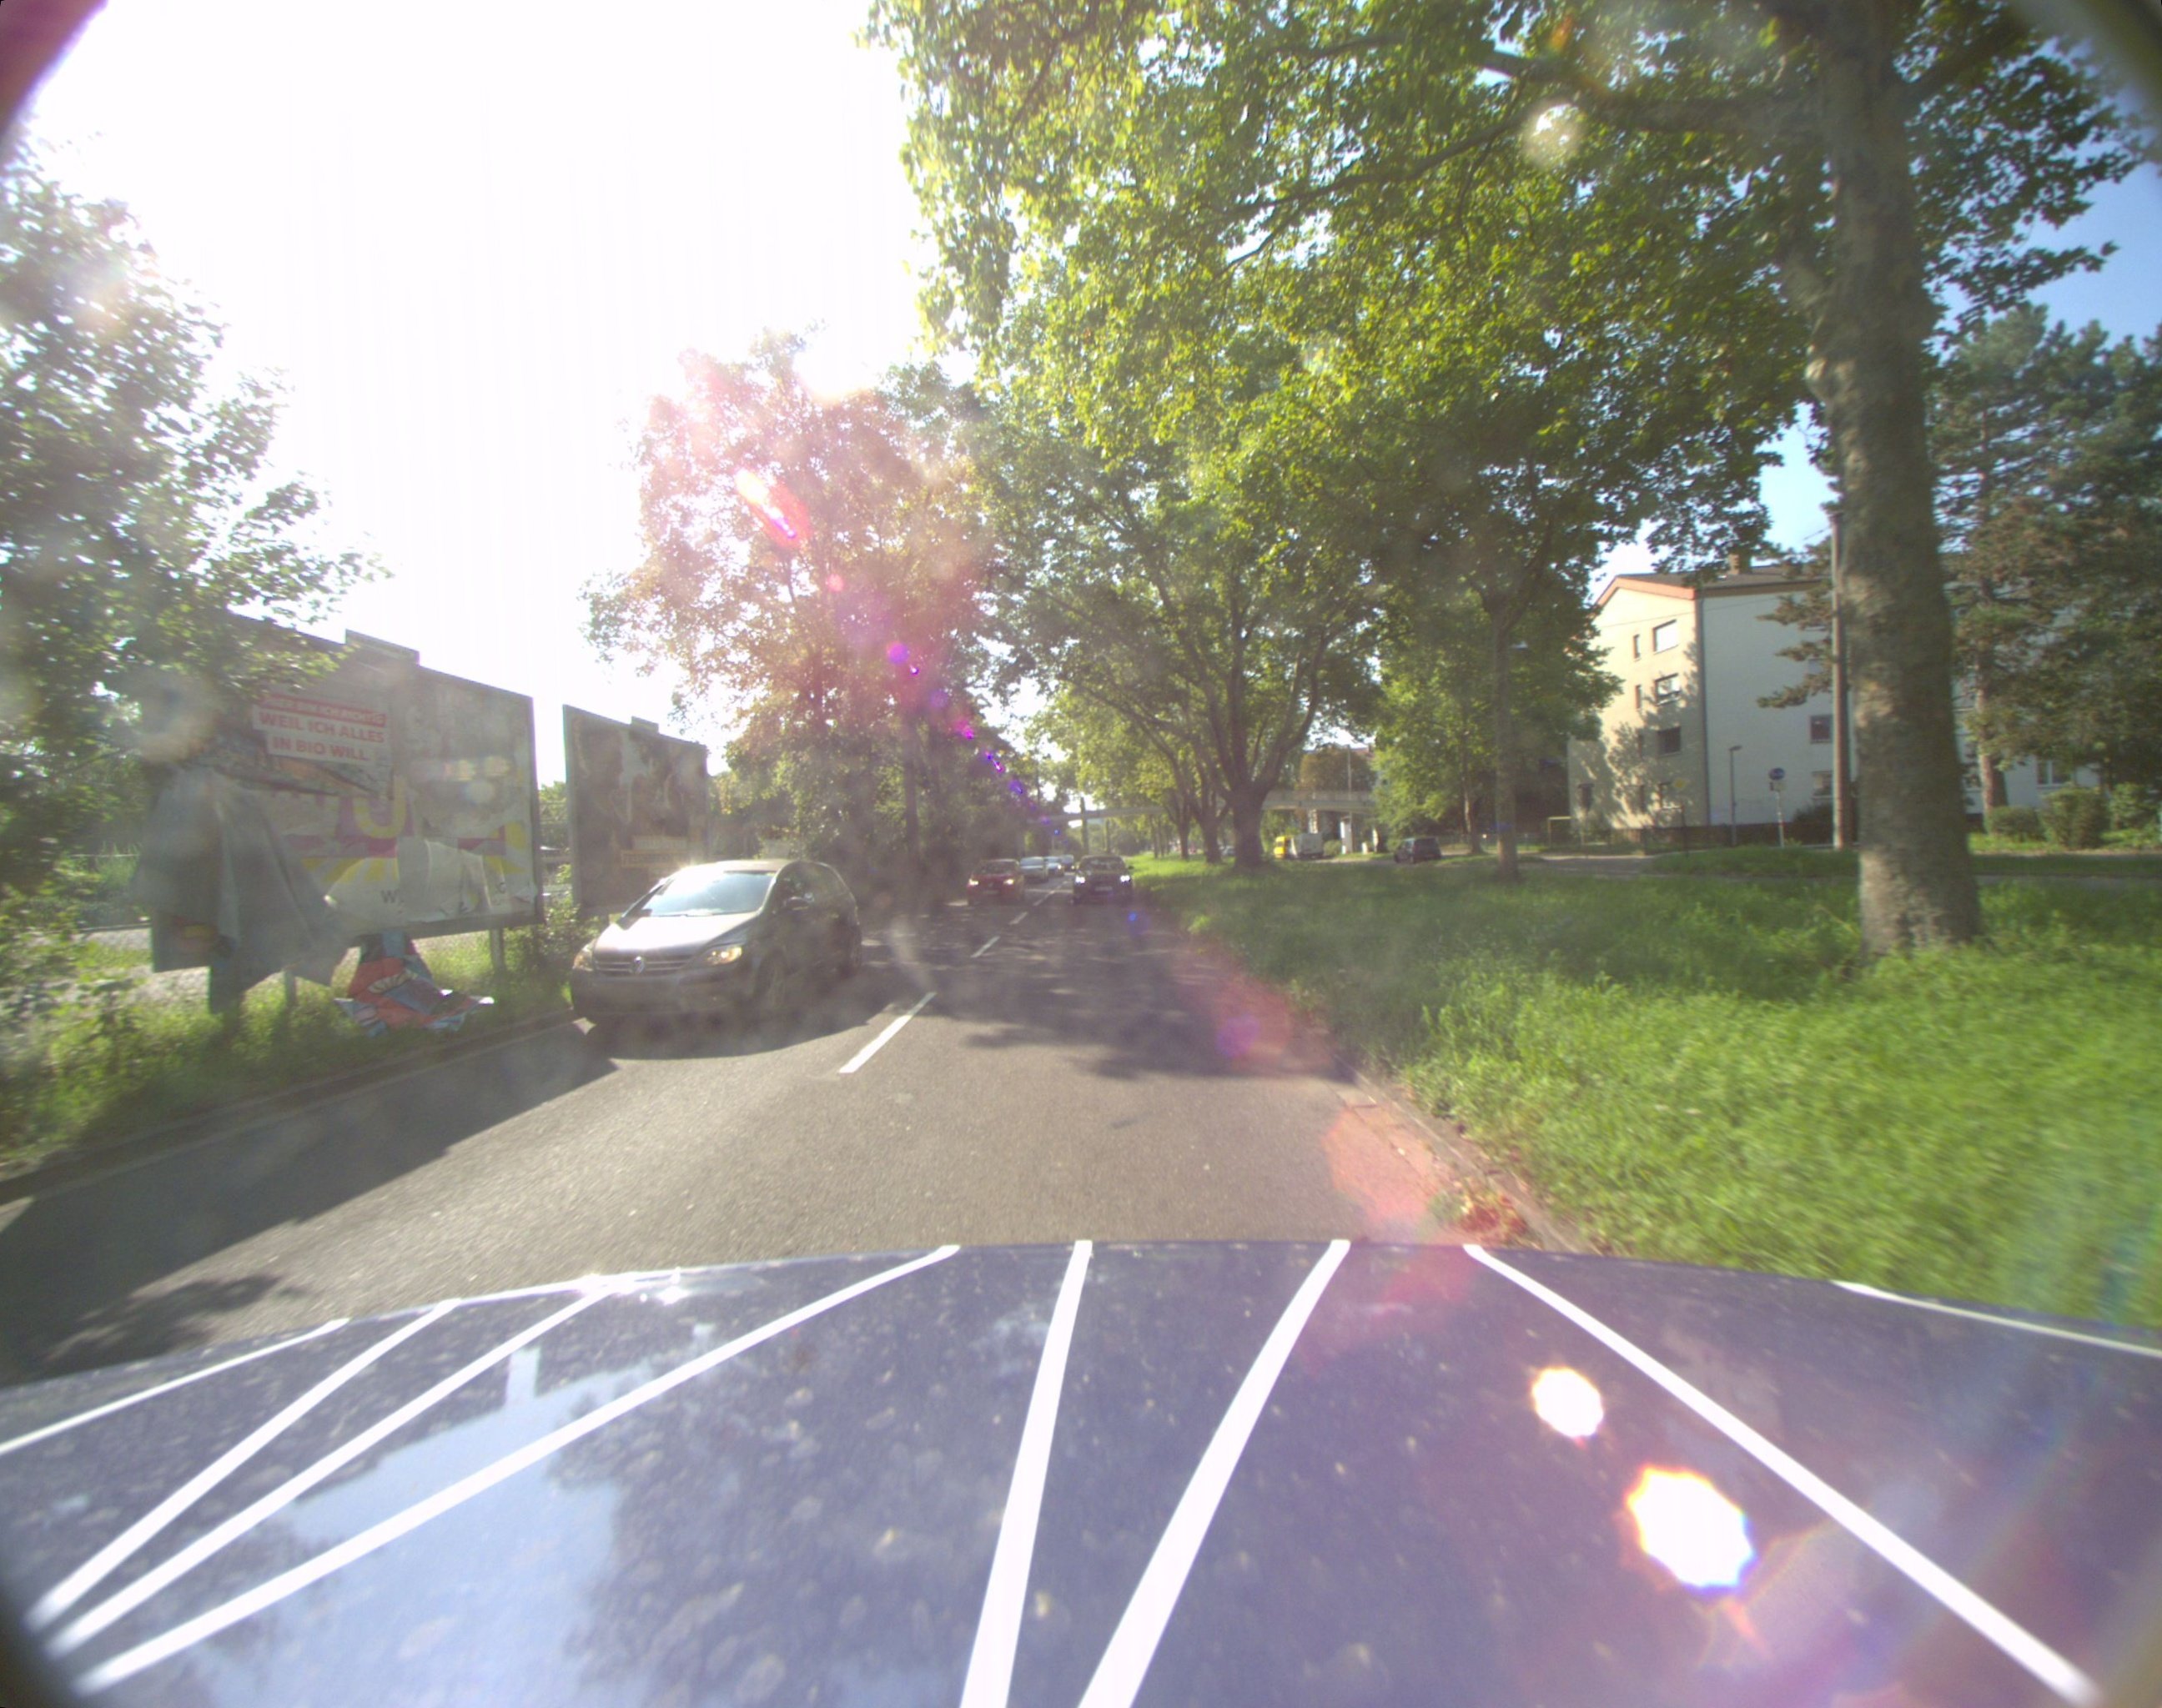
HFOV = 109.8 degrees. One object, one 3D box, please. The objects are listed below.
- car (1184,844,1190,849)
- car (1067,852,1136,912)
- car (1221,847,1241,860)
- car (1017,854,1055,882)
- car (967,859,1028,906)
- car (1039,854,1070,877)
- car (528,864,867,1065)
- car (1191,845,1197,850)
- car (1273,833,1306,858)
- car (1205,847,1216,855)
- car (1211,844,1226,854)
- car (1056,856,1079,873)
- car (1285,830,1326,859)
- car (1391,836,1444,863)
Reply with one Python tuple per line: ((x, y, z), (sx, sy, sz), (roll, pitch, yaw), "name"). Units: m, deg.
((36.591, -2.570, 262.547), (1.779, 1.607, 4.858), (-3, 0, 6), "car")
((0.551, 0.769, 22.882), (1.862, 1.572, 3.611), (-2, 0, 0), "car")
((20.545, -0.082, 104.287), (1.806, 1.709, 4.720), (-2, 0, 2), "car")
((-2.596, 0.810, 44.984), (1.649, 1.467, 3.900), (-3, 0, 4), "car")
((-2.751, 0.902, 25.734), (1.579, 1.390, 3.472), (-2, 1, 1), "car")
((-1.900, 0.814, 55.089), (1.648, 1.467, 3.900), (-3, 0, 6), "car")
((-3.784, 0.962, 8.362), (1.649, 1.547, 3.898), (-2, 1, 1), "car")
((37.537, -2.105, 252.455), (1.649, 1.356, 3.900), (-3, 0, 5), "car")
((22.049, -0.876, 80.672), (2.212, 2.465, 6.062), (-3, 0, 6), "car")
((27.401, -0.640, 160.616), (1.791, 1.524, 4.457), (-3, 0, 5), "car")
((22.690, -0.816, 125.353), (1.695, 1.524, 4.069), (-3, 0, 1), "car")
((-1.191, 0.934, 68.786), (1.648, 1.378, 3.900), (-3, 0, 6), "car")
((21.398, -0.910, 72.793), (2.213, 2.416, 6.266), (-5, 0, 3), "car")
((20.311, -0.283, 46.026), (1.526, 1.524, 3.863), (-2, 1, 1), "car")
